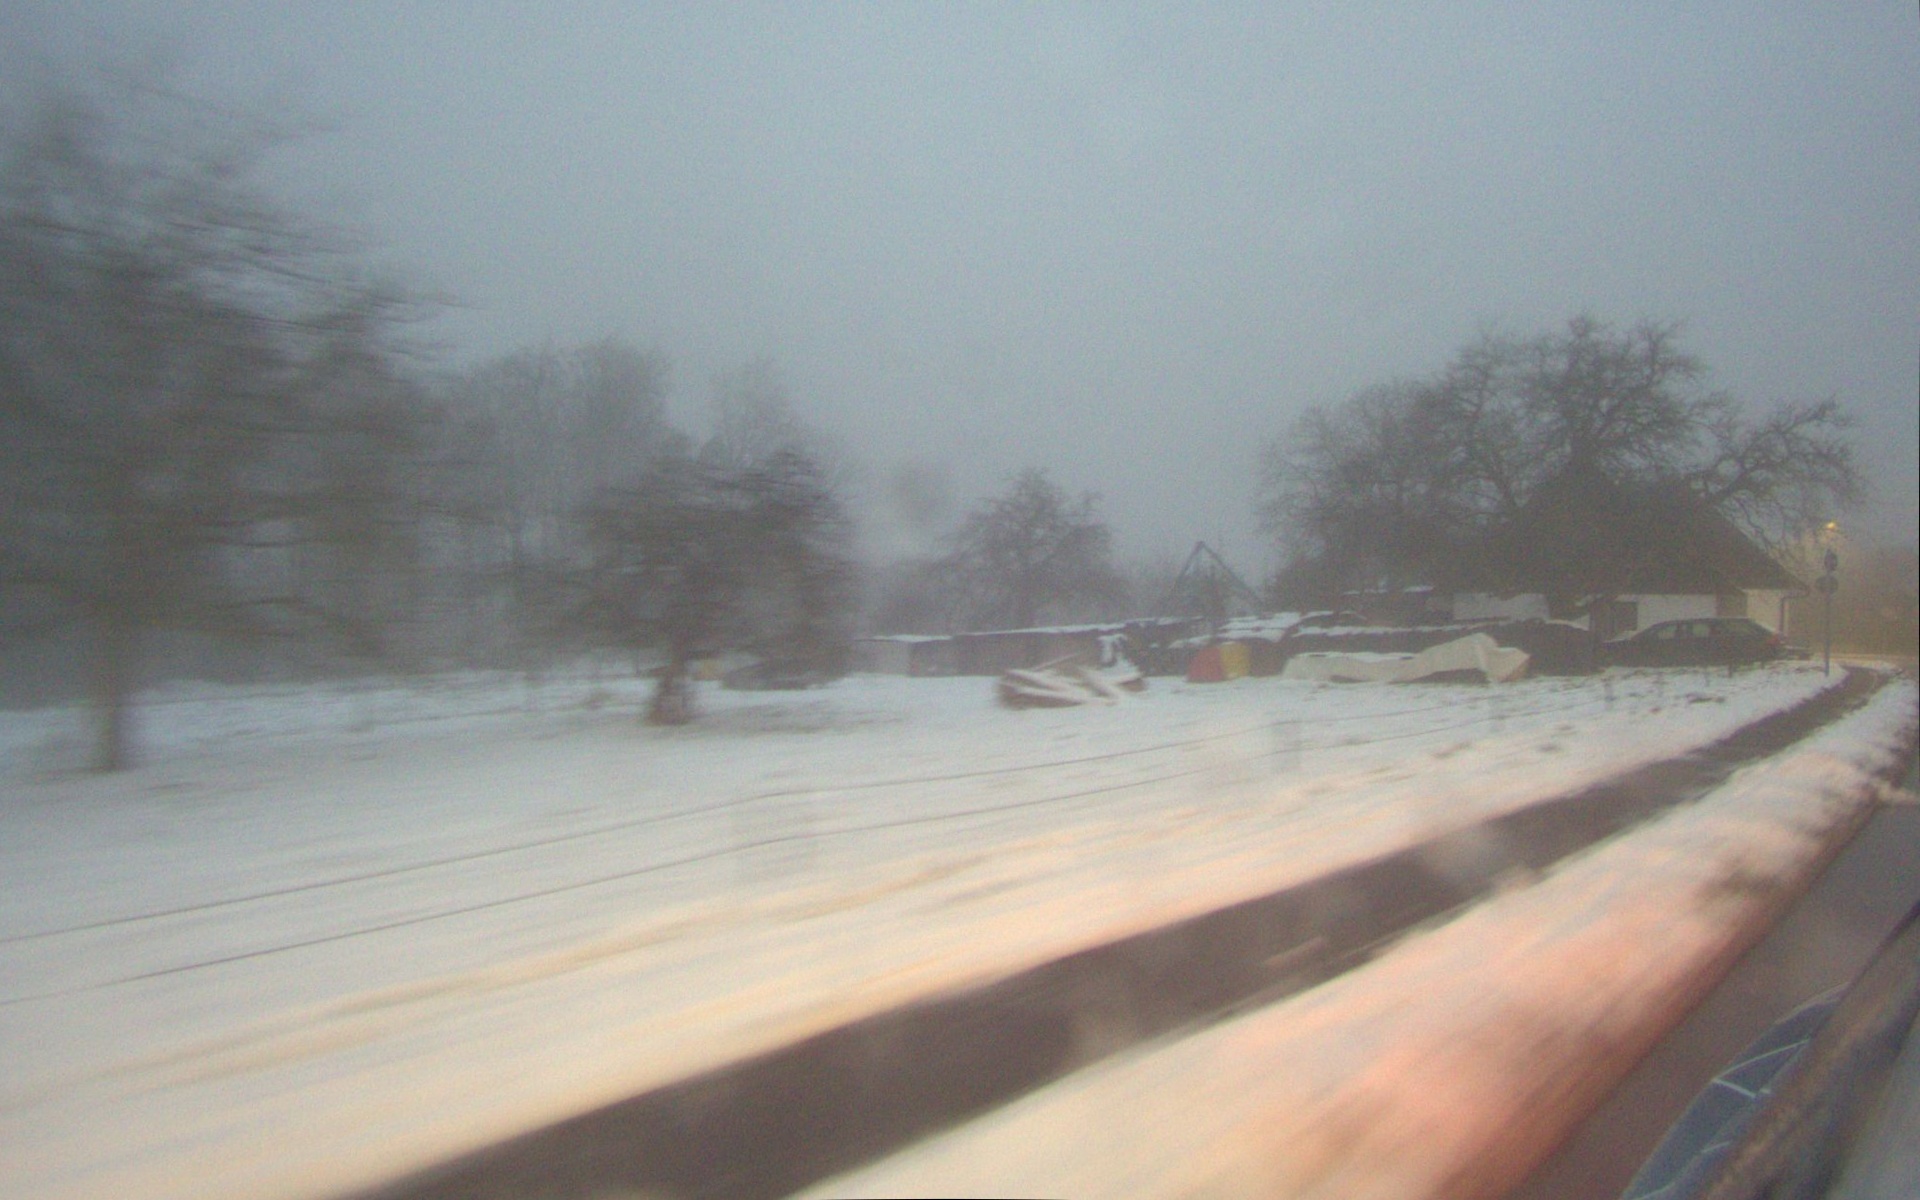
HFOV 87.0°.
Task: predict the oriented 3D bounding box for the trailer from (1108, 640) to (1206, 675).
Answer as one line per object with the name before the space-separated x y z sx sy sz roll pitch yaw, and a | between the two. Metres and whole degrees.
trailer | 6.499 1.852 33.232 1.838 0.957 3.615 2 0 35

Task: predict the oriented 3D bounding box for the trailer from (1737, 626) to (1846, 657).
trailer | 30.158 1.476 36.846 1.527 0.957 3.981 2 0 15

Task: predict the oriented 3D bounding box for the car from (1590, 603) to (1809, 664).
car | 19.970 0.951 27.465 2.002 1.400 4.450 1 -5 -44

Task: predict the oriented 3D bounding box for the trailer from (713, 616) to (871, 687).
trailer | -5.080 1.515 30.352 4.735 1.968 2.191 -2 -3 41
